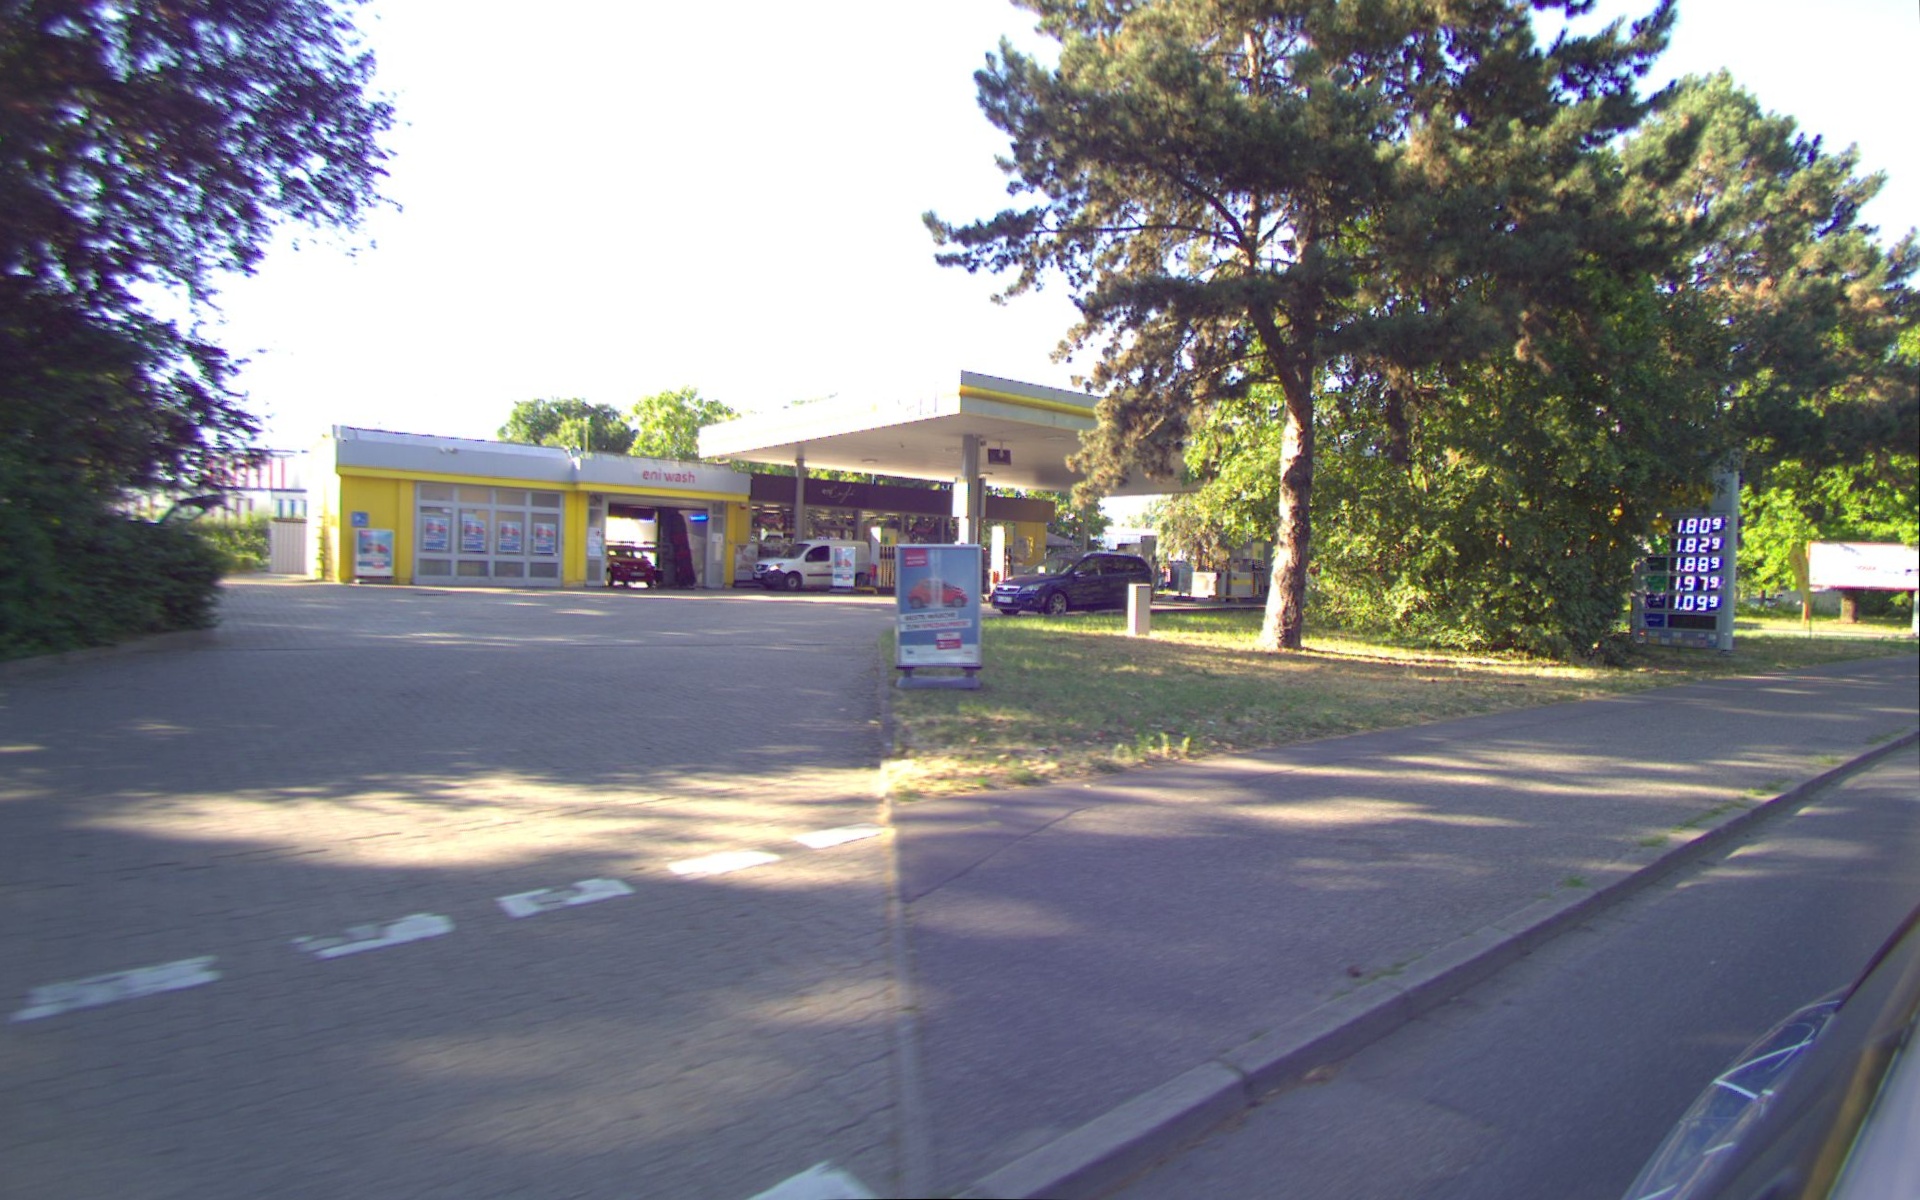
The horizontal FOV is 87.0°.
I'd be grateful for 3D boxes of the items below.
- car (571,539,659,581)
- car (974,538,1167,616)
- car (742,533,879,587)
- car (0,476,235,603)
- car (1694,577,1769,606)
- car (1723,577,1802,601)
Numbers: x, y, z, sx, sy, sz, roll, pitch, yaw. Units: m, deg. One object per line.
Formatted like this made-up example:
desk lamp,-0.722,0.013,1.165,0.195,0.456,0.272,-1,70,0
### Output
car,-12.580,-1.480,36.757,1.852,1.389,4.000,0,3,-37
car,2.655,-0.528,23.769,4.394,1.667,1.929,1,2,-39
car,-5.128,-1.399,34.936,4.317,1.748,1.818,-1,4,-37
car,-15.519,-1.083,17.929,3.915,1.960,1.861,3,2,-19
car,54.917,-0.651,72.140,1.673,1.840,4.449,2,2,-2
car,57.222,-0.803,72.280,1.961,1.613,4.448,1,1,-2
